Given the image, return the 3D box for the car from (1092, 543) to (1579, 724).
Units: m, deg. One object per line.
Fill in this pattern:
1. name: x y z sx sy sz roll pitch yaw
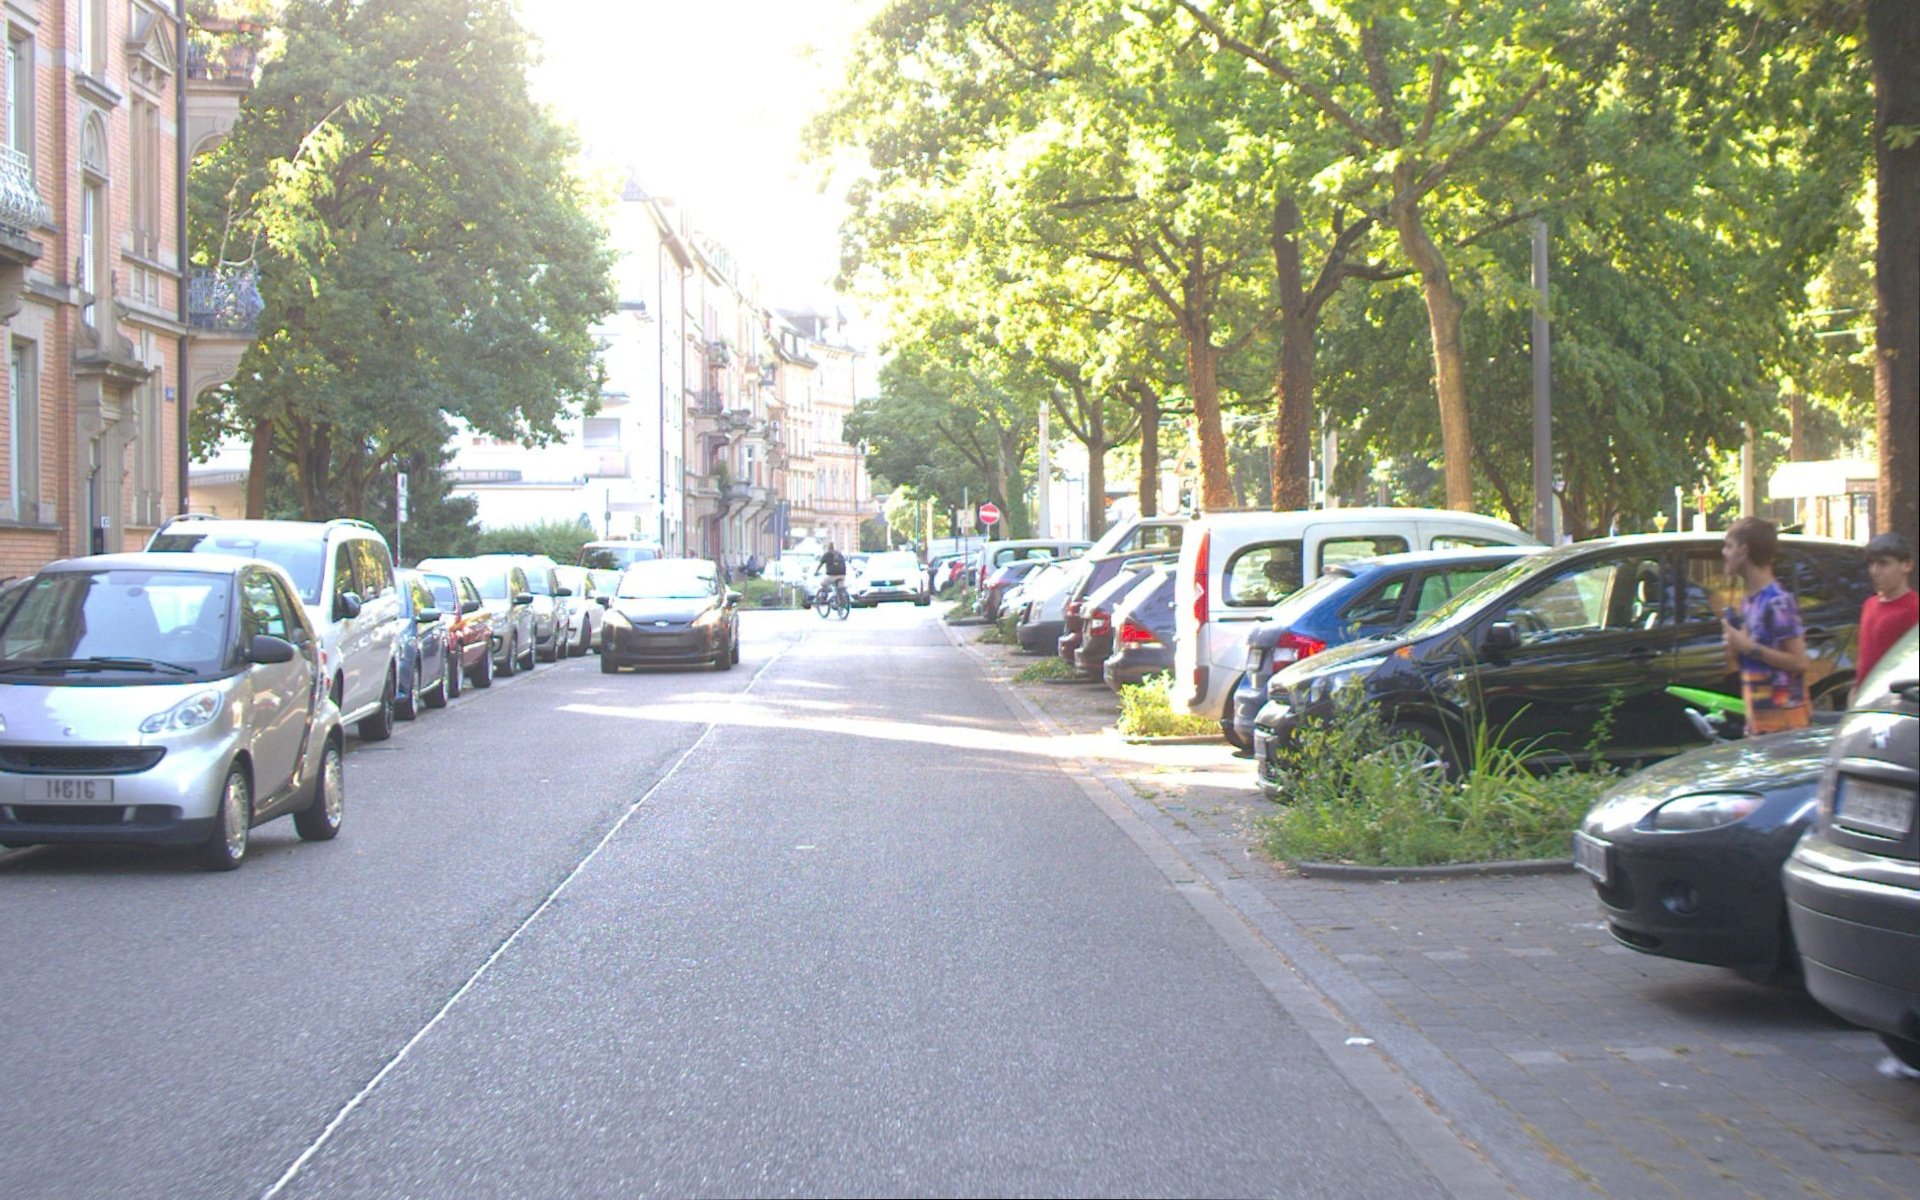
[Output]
1. car: 3.344 0.286 31.091 4.220 1.448 1.649 -2 1 3

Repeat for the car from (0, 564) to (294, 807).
1. car: -5.748 0.513 23.220 1.674 1.449 4.210 -2 1 0

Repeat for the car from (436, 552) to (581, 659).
1. car: -6.664 0.052 51.078 1.756 1.510 4.162 1 1 -2

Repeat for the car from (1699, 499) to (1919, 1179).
1. car: 4.352 0.510 8.862 4.398 1.585 1.838 -1 0 -5

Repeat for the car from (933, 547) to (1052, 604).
1. car: 1.188 -0.878 124.519 3.989 2.007 1.999 0 -1 10

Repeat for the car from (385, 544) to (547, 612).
1. car: -13.022 -0.572 90.776 3.987 1.700 2.000 1 -1 0

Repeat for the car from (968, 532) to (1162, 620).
1. car: 2.242 -0.499 73.897 3.986 1.788 1.859 1 -1 -4

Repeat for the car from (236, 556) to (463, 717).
1. car: -6.042 0.321 34.422 1.669 1.481 4.000 1 1 -2

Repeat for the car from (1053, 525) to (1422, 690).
1. car: 3.103 0.068 39.060 3.987 1.685 1.859 -2 1 0

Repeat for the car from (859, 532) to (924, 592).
1. car: -1.976 -1.112 100.161 1.778 1.668 4.487 1 1 0

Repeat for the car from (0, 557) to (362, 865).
1. car: -4.177 0.520 17.783 1.504 1.430 2.752 -1 1 3

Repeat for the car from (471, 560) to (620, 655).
1. car: -6.661 0.093 55.619 1.756 1.461 4.267 1 1 2

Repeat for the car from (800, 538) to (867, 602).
1. car: -3.899 -0.903 105.809 1.993 1.832 4.000 1 -1 -2

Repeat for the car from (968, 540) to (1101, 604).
1. car: 2.413 -0.902 110.937 3.989 2.007 1.999 0 -1 10

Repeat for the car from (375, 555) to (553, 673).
1. car: -6.458 0.154 45.087 1.703 1.424 3.877 2 1 0

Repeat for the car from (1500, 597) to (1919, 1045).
1. car: 3.818 0.623 11.046 3.842 1.274 1.691 -1 1 -2

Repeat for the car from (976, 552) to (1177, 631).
1. car: 2.385 -0.155 71.224 3.986 1.558 1.859 1 -1 -4

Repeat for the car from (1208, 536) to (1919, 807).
1. car: 3.693 0.406 21.140 4.081 1.437 1.762 -2 1 -3

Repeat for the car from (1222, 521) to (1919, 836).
1. car: 3.346 0.391 18.617 3.674 1.496 1.762 -2 1 0

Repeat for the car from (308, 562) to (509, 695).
1. car: -6.302 0.286 39.652 1.670 1.425 4.241 1 1 -1

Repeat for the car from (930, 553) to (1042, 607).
1. car: 1.015 -0.768 131.377 3.989 2.007 1.999 0 -1 10

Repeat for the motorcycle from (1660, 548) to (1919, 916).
1. motorcycle: 3.975 0.540 14.314 1.860 1.457 1.264 1 -1 0

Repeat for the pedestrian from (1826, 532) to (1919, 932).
1. pedestrian: 3.592 0.500 13.402 0.380 1.511 0.518 0 3 18

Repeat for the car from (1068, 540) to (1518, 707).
1. car: 3.227 0.216 33.985 4.220 1.448 1.865 -2 1 0

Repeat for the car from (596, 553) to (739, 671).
1. car: -3.870 0.131 45.976 1.668 1.459 4.000 -2 1 -2

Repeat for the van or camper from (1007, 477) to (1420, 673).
1. van or camper: 3.155 -0.286 43.620 4.981 2.369 2.185 1 -1 -3

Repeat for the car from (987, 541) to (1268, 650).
1. car: 2.713 -0.054 56.229 4.389 1.694 1.859 1 -1 -4

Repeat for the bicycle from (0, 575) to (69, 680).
1. bicycle: -10.500 0.317 38.420 0.704 1.143 1.890 1 -1 -4

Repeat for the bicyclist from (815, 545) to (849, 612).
1. bicyclist: -3.018 -0.506 81.080 0.627 1.568 0.802 1 -1 -15

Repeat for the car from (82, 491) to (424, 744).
1. car: -5.816 0.176 28.900 1.993 1.914 5.040 1 -1 -2

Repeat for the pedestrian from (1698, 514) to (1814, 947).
1. pedestrian: 2.996 0.475 12.923 0.380 1.579 0.518 0 3 18

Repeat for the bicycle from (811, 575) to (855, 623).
1. bicycle: -3.000 -0.007 80.982 0.641 1.096 1.944 1 -1 -14

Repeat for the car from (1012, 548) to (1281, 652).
1. car: 2.879 0.019 53.615 3.986 1.543 1.859 1 -1 -4

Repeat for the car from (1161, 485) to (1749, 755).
1. car: 3.741 0.138 26.496 4.220 1.857 1.762 -2 1 0

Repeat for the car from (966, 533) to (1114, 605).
1. car: 2.337 -0.887 99.858 3.989 2.007 1.999 0 -1 10
